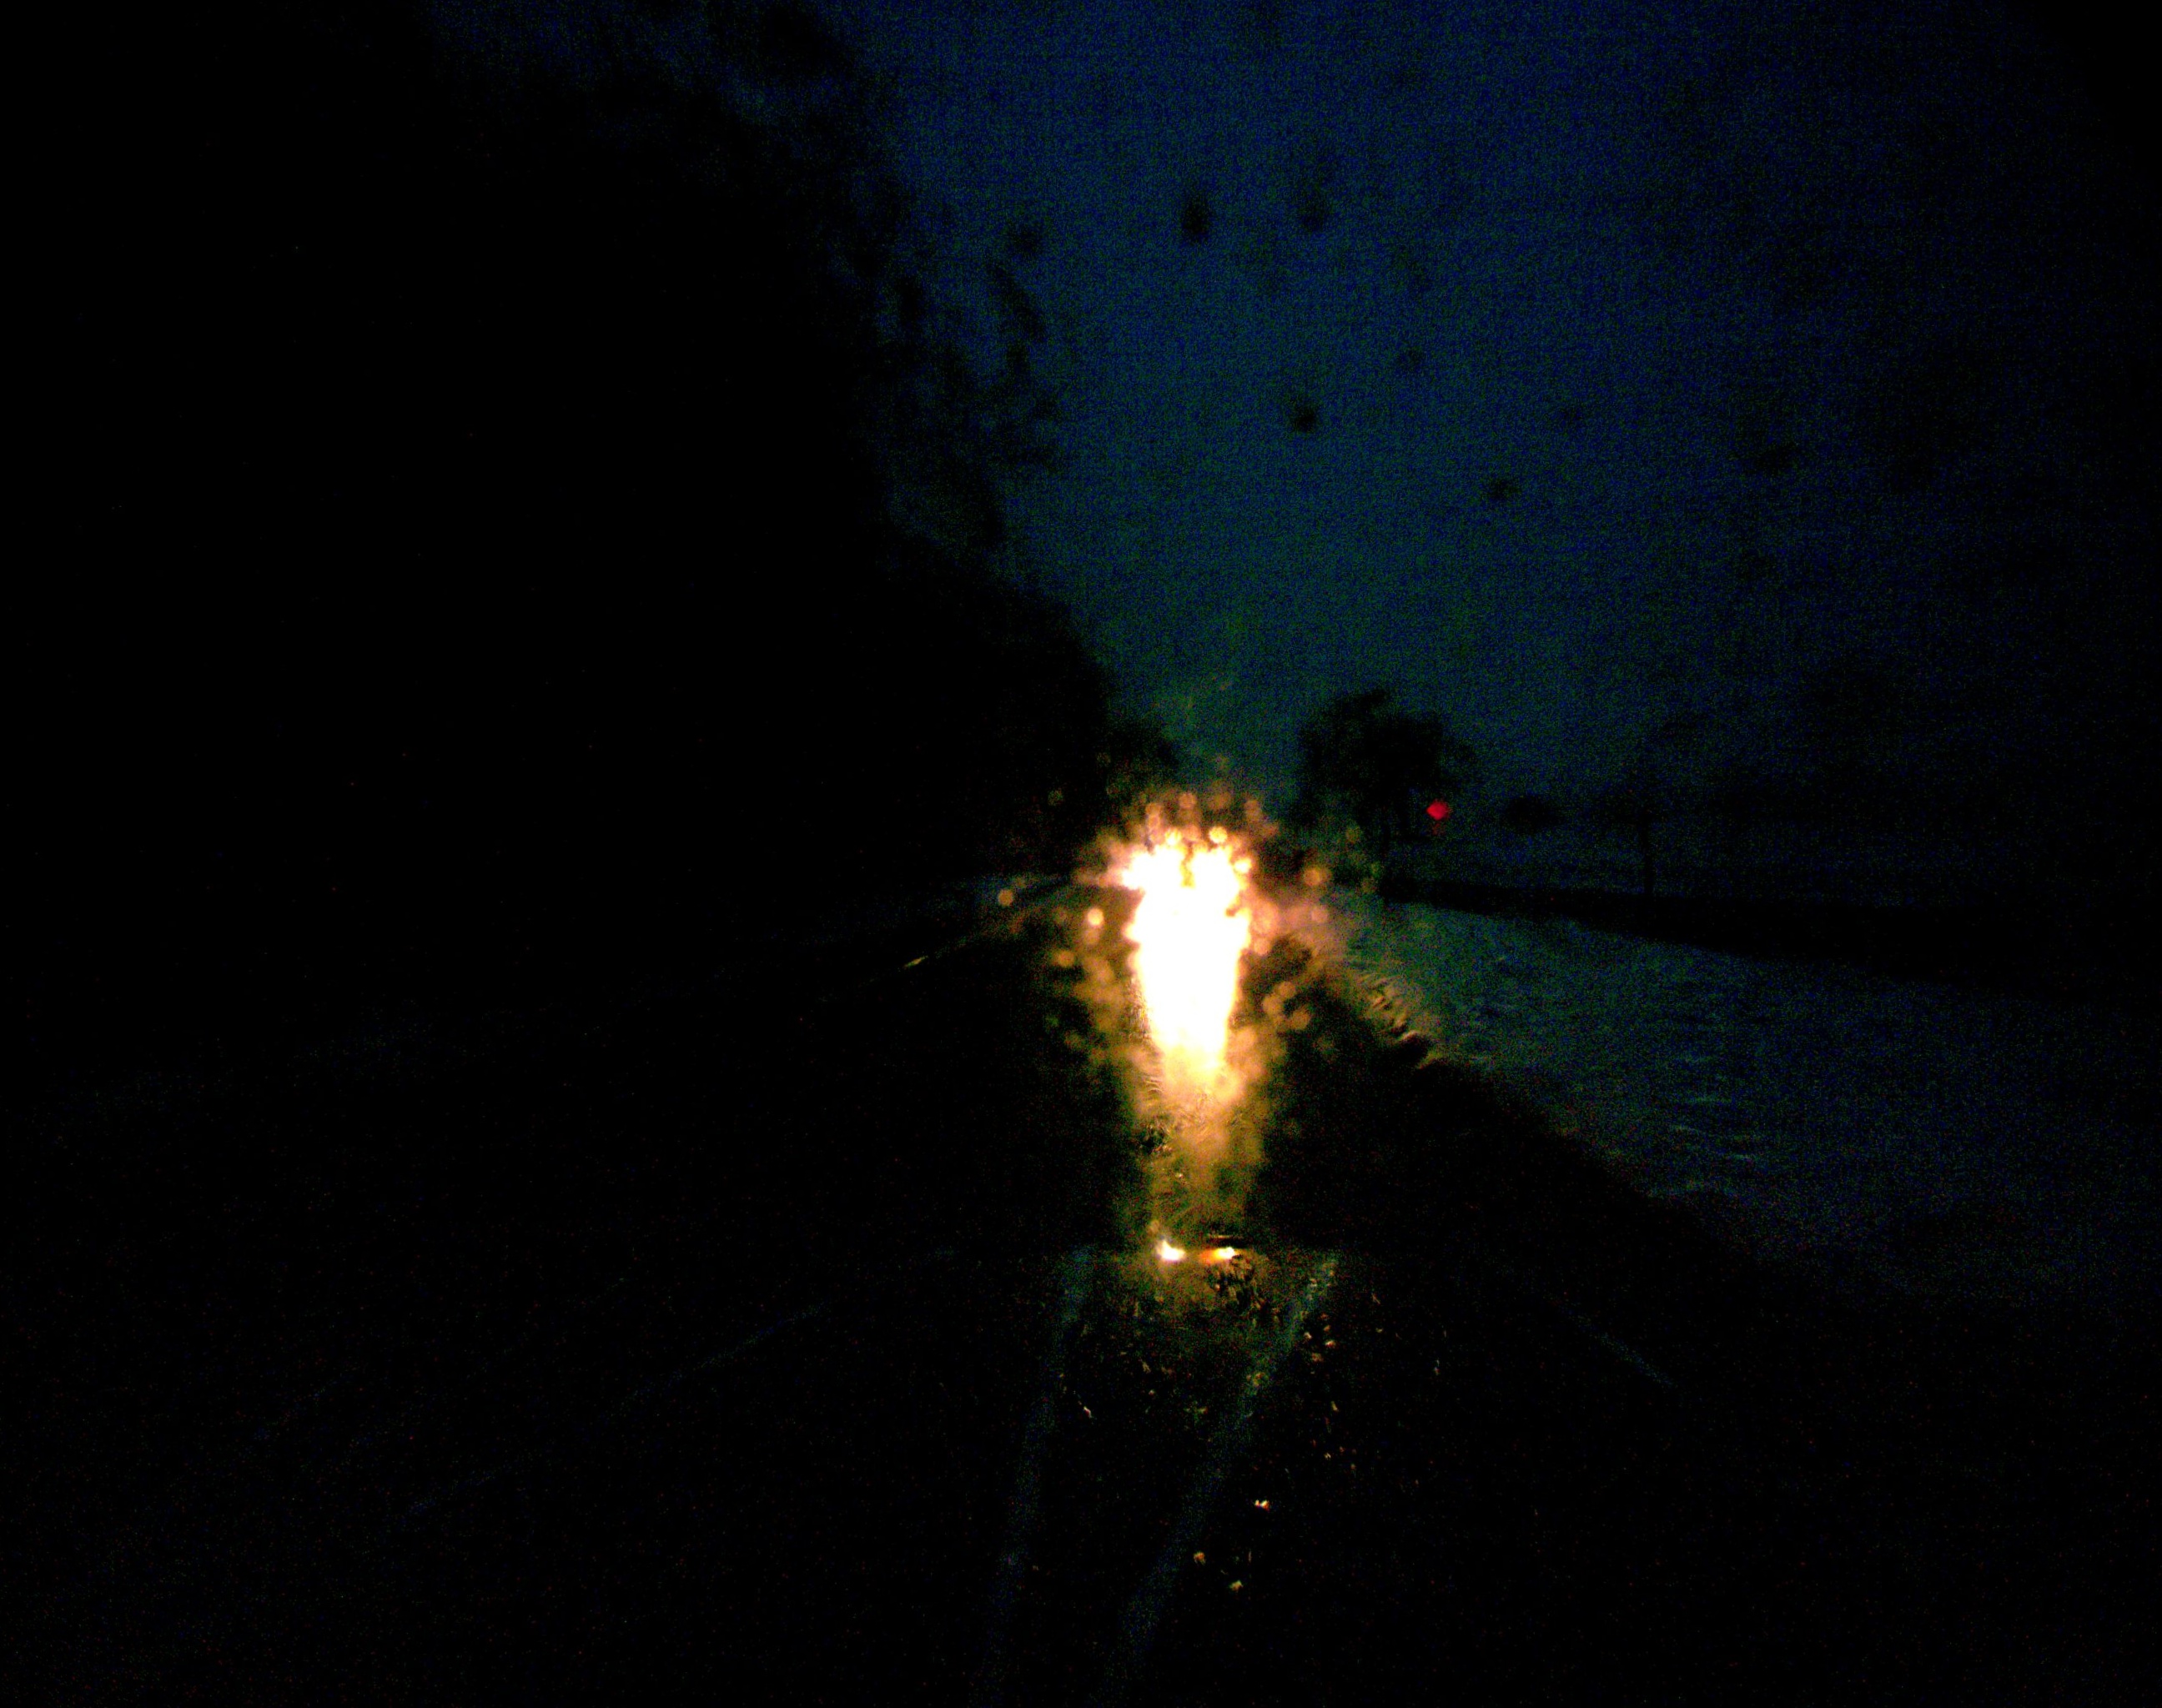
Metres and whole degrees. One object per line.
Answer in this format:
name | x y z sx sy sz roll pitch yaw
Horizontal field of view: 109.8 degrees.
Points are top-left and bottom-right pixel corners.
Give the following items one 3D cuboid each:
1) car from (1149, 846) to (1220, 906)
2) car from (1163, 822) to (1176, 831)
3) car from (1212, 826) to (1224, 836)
car | 2.836 0.535 21.135 1.724 1.426 3.678 -2 1 6
car | 19.026 -5.956 163.291 1.999 1.797 3.997 -2 2 -4
car | 25.765 -4.319 142.858 1.997 1.797 4.001 -2 2 9
